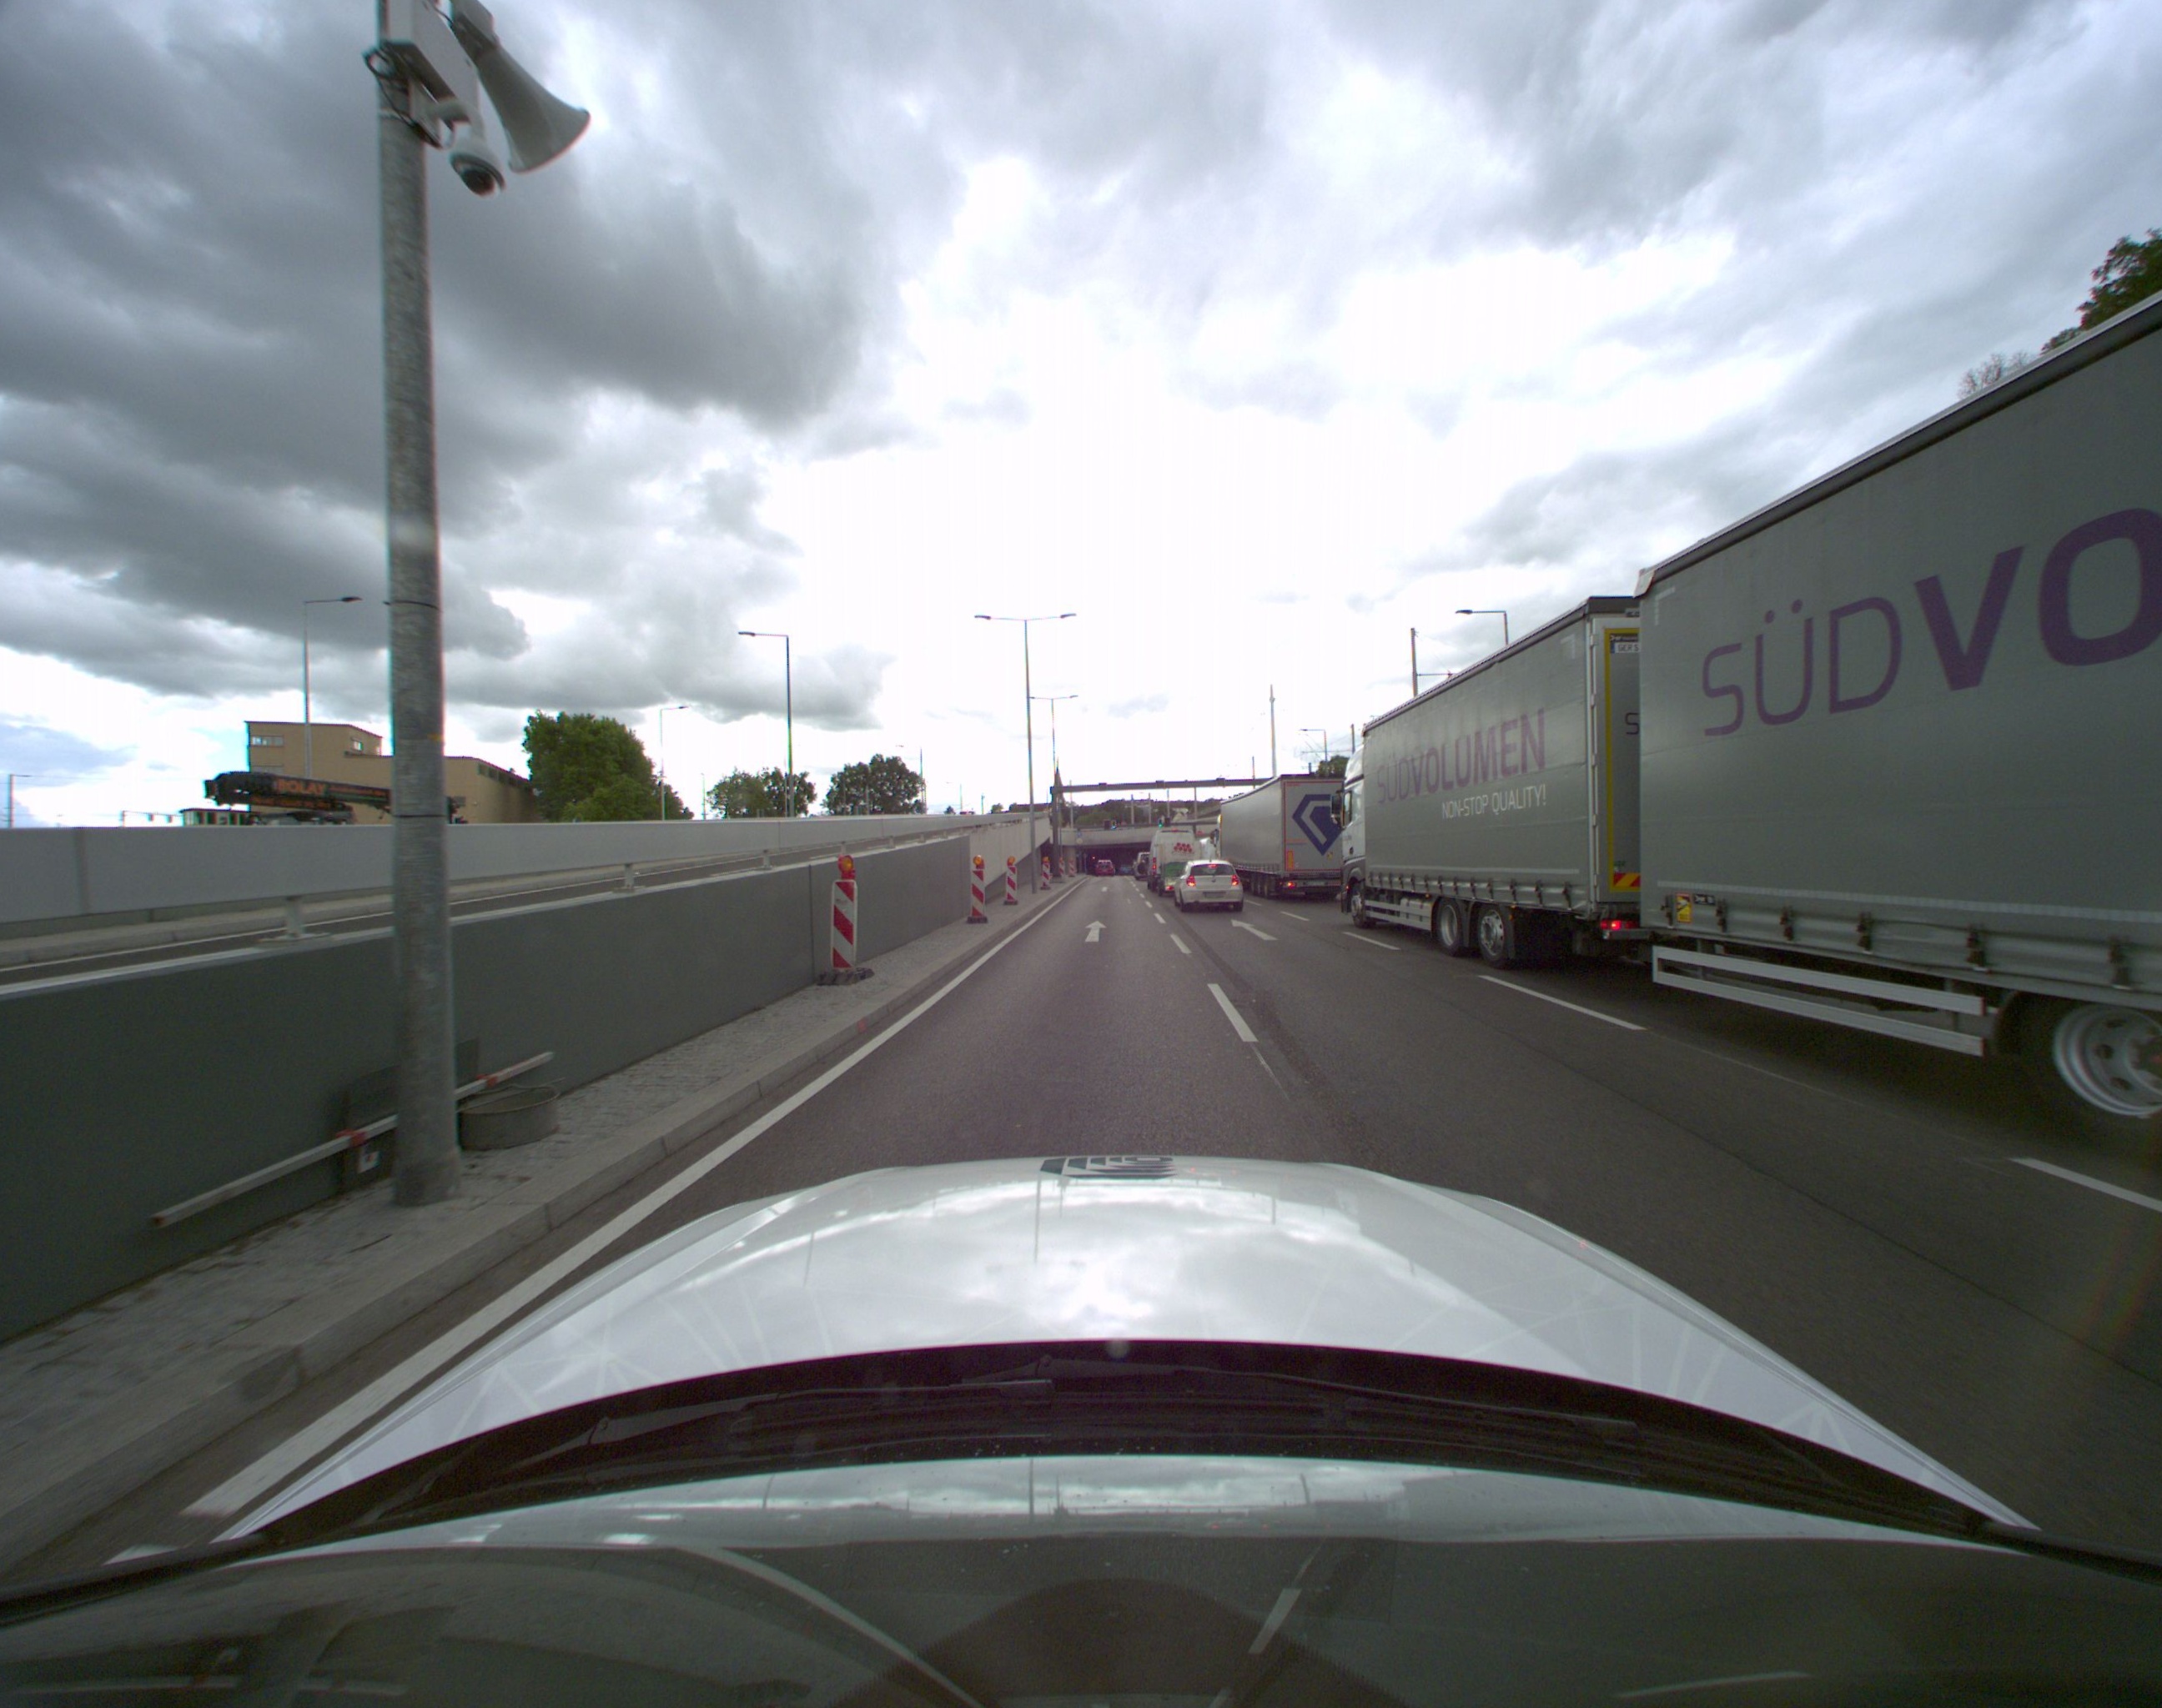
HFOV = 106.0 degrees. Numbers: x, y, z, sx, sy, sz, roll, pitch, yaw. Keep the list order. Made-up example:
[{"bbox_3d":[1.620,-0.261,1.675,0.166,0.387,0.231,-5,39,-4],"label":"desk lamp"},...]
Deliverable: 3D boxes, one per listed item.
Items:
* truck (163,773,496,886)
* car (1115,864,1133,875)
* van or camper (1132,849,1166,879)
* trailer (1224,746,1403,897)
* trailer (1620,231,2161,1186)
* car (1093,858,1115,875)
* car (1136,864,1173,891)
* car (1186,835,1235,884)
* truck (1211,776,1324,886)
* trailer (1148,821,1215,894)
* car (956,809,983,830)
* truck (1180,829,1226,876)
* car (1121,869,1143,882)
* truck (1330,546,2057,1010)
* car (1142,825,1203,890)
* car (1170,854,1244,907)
[{"bbox_3d":[-26.589,-0.942,30.020,2.726,3.389,10.611,1,2,-3],"label":"truck"},{"bbox_3d":[5.845,2.154,111.744,1.990,1.387,3.994,-1,0,-4],"label":"car"},{"bbox_3d":[4.576,0.735,55.521,1.986,1.845,5.508,-1,-2,1],"label":"van or camper"},{"bbox_3d":[8.206,-0.978,31.095,3.790,4.631,12.120,0,0,2],"label":"trailer"},{"bbox_3d":[6.442,-0.645,1.845,3.708,4.141,10.994,-1,0,4],"label":"trailer"},{"bbox_3d":[2.131,1.179,76.898,1.657,1.488,3.560,-2,-2,-5],"label":"car"},{"bbox_3d":[4.416,1.410,49.331,1.678,1.545,3.688,0,0,-3],"label":"car"},{"bbox_3d":[8.027,0.325,51.274,2.067,2.773,7.329,-2,0,2],"label":"car"},{"bbox_3d":[8.471,-0.959,38.082,3.790,4.631,7.446,0,0,2],"label":"truck"},{"bbox_3d":[3.944,0.165,32.685,2.096,2.639,4.810,2,-1,1],"label":"trailer"},{"bbox_3d":[-9.031,-2.783,66.145,1.739,1.432,3.772,2,-1,-2],"label":"car"},{"bbox_3d":[9.003,-0.054,60.793,2.638,3.185,7.431,-2,-1,3],"label":"truck"},{"bbox_3d":[5.118,2.211,82.672,1.661,1.247,3.560,-2,-2,-5],"label":"car"},{"bbox_3d":[7.154,-0.646,12.828,3.708,4.141,10.994,-1,0,4],"label":"truck"},{"bbox_3d":[3.973,0.182,36.338,2.051,2.628,5.942,2,-1,1],"label":"car"},{"bbox_3d":[3.634,0.729,24.071,1.709,1.398,4.350,1,-1,3],"label":"car"}]
